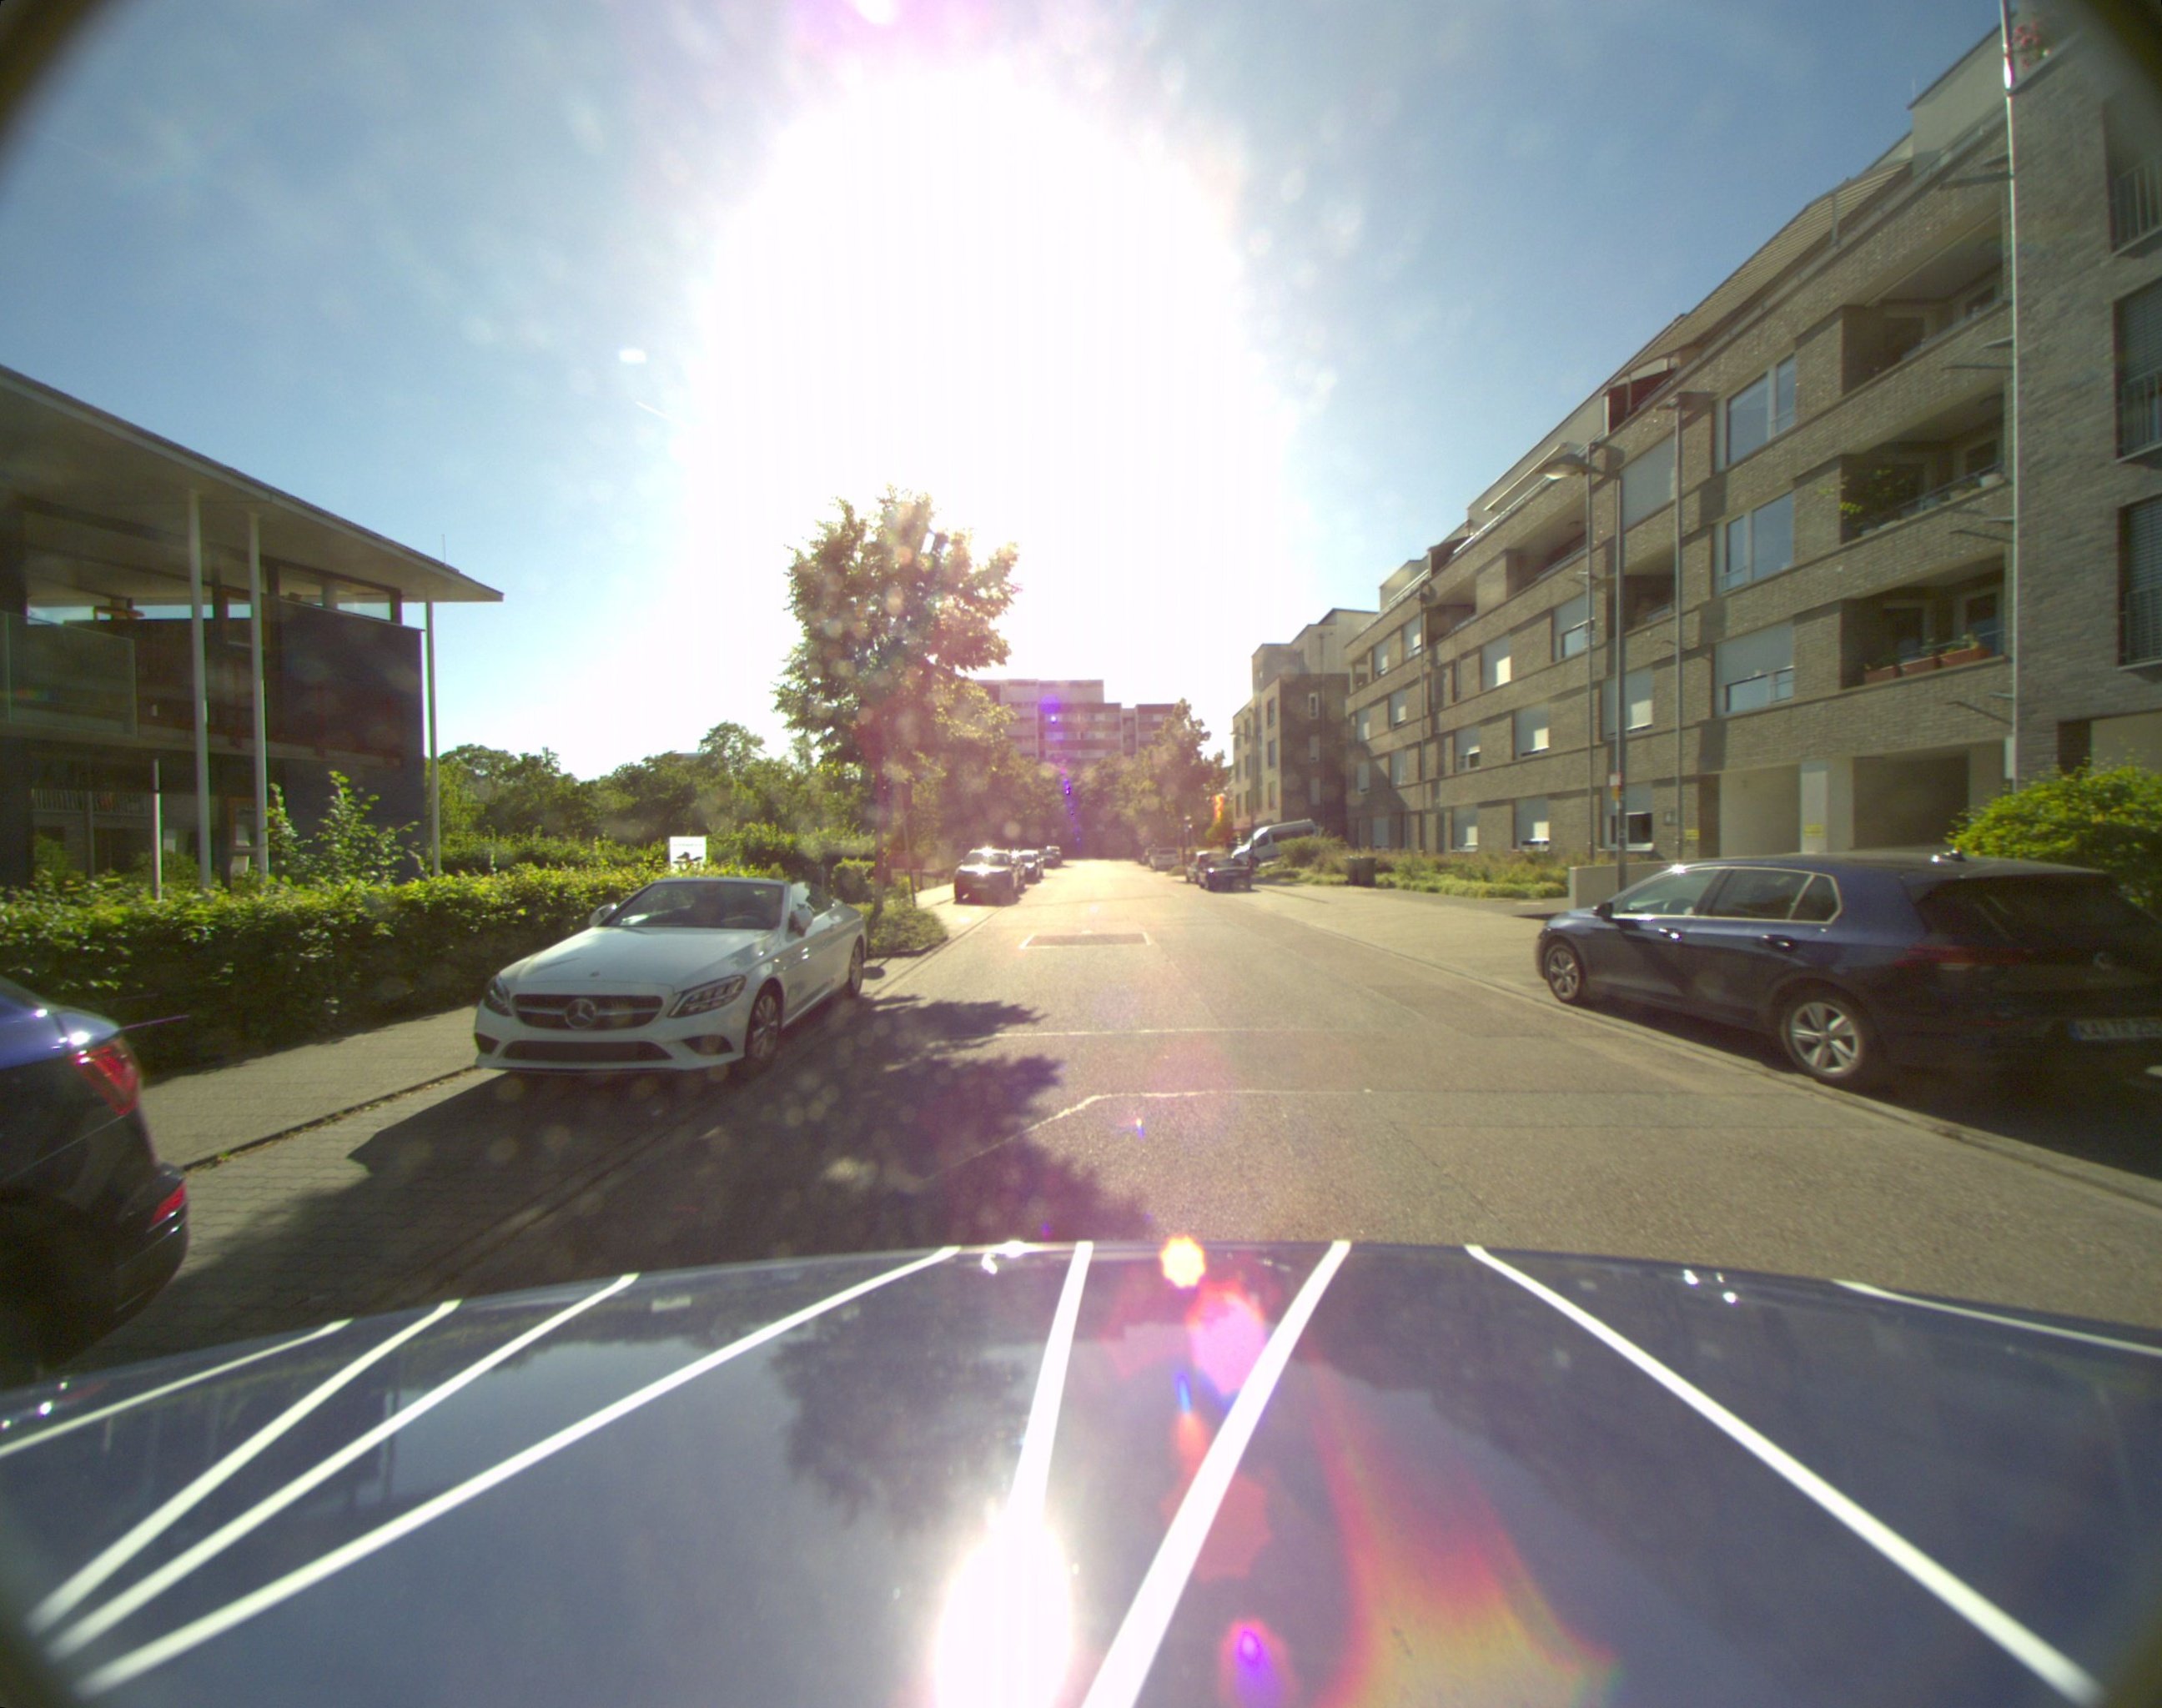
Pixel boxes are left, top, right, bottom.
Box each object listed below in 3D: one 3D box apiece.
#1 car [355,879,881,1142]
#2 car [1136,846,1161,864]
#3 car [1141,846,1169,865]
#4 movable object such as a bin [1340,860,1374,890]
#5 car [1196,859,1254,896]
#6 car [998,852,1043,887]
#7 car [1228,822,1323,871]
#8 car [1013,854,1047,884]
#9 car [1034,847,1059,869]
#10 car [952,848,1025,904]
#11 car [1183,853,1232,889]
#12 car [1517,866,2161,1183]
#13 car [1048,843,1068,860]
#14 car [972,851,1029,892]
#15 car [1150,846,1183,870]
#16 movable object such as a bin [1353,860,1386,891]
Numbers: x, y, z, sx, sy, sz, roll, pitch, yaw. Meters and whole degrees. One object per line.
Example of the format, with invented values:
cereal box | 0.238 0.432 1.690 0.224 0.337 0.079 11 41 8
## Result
car | -3.328 1.006 6.842 1.968 1.312 4.774 2 0 -3
car | 6.111 0.062 68.890 1.795 1.509 3.889 -2 1 -2
car | 6.157 0.135 63.713 1.795 1.509 3.889 -2 1 -2
movable object such as a bin | 10.041 0.749 27.660 0.921 1.032 0.681 -4 1 -2
car | 5.549 0.869 29.652 1.631 1.240 3.562 -2 1 1
car | -2.938 0.705 37.569 1.823 1.459 3.841 3 2 0
car | 11.652 -0.461 45.769 5.153 2.886 2.013 0 1 -3
car | -2.872 0.799 43.523 1.645 1.459 3.702 3 2 0
car | -2.661 0.278 59.232 1.645 1.459 3.702 3 2 0
car | -2.989 0.650 25.447 1.823 1.638 4.488 3 1 0
car | 5.768 0.729 34.956 1.631 1.515 3.562 0 1 0
car | 5.544 0.917 5.981 1.845 1.465 4.099 -3 1 0
car | -2.113 -0.275 71.453 1.645 1.459 3.702 3 2 0
car | -3.166 0.656 30.662 1.823 1.458 3.842 3 1 0
car | 6.106 0.257 54.872 1.795 1.590 3.889 -2 1 -2
movable object such as a bin | 10.206 0.763 26.913 0.862 1.032 0.677 -4 1 -2
